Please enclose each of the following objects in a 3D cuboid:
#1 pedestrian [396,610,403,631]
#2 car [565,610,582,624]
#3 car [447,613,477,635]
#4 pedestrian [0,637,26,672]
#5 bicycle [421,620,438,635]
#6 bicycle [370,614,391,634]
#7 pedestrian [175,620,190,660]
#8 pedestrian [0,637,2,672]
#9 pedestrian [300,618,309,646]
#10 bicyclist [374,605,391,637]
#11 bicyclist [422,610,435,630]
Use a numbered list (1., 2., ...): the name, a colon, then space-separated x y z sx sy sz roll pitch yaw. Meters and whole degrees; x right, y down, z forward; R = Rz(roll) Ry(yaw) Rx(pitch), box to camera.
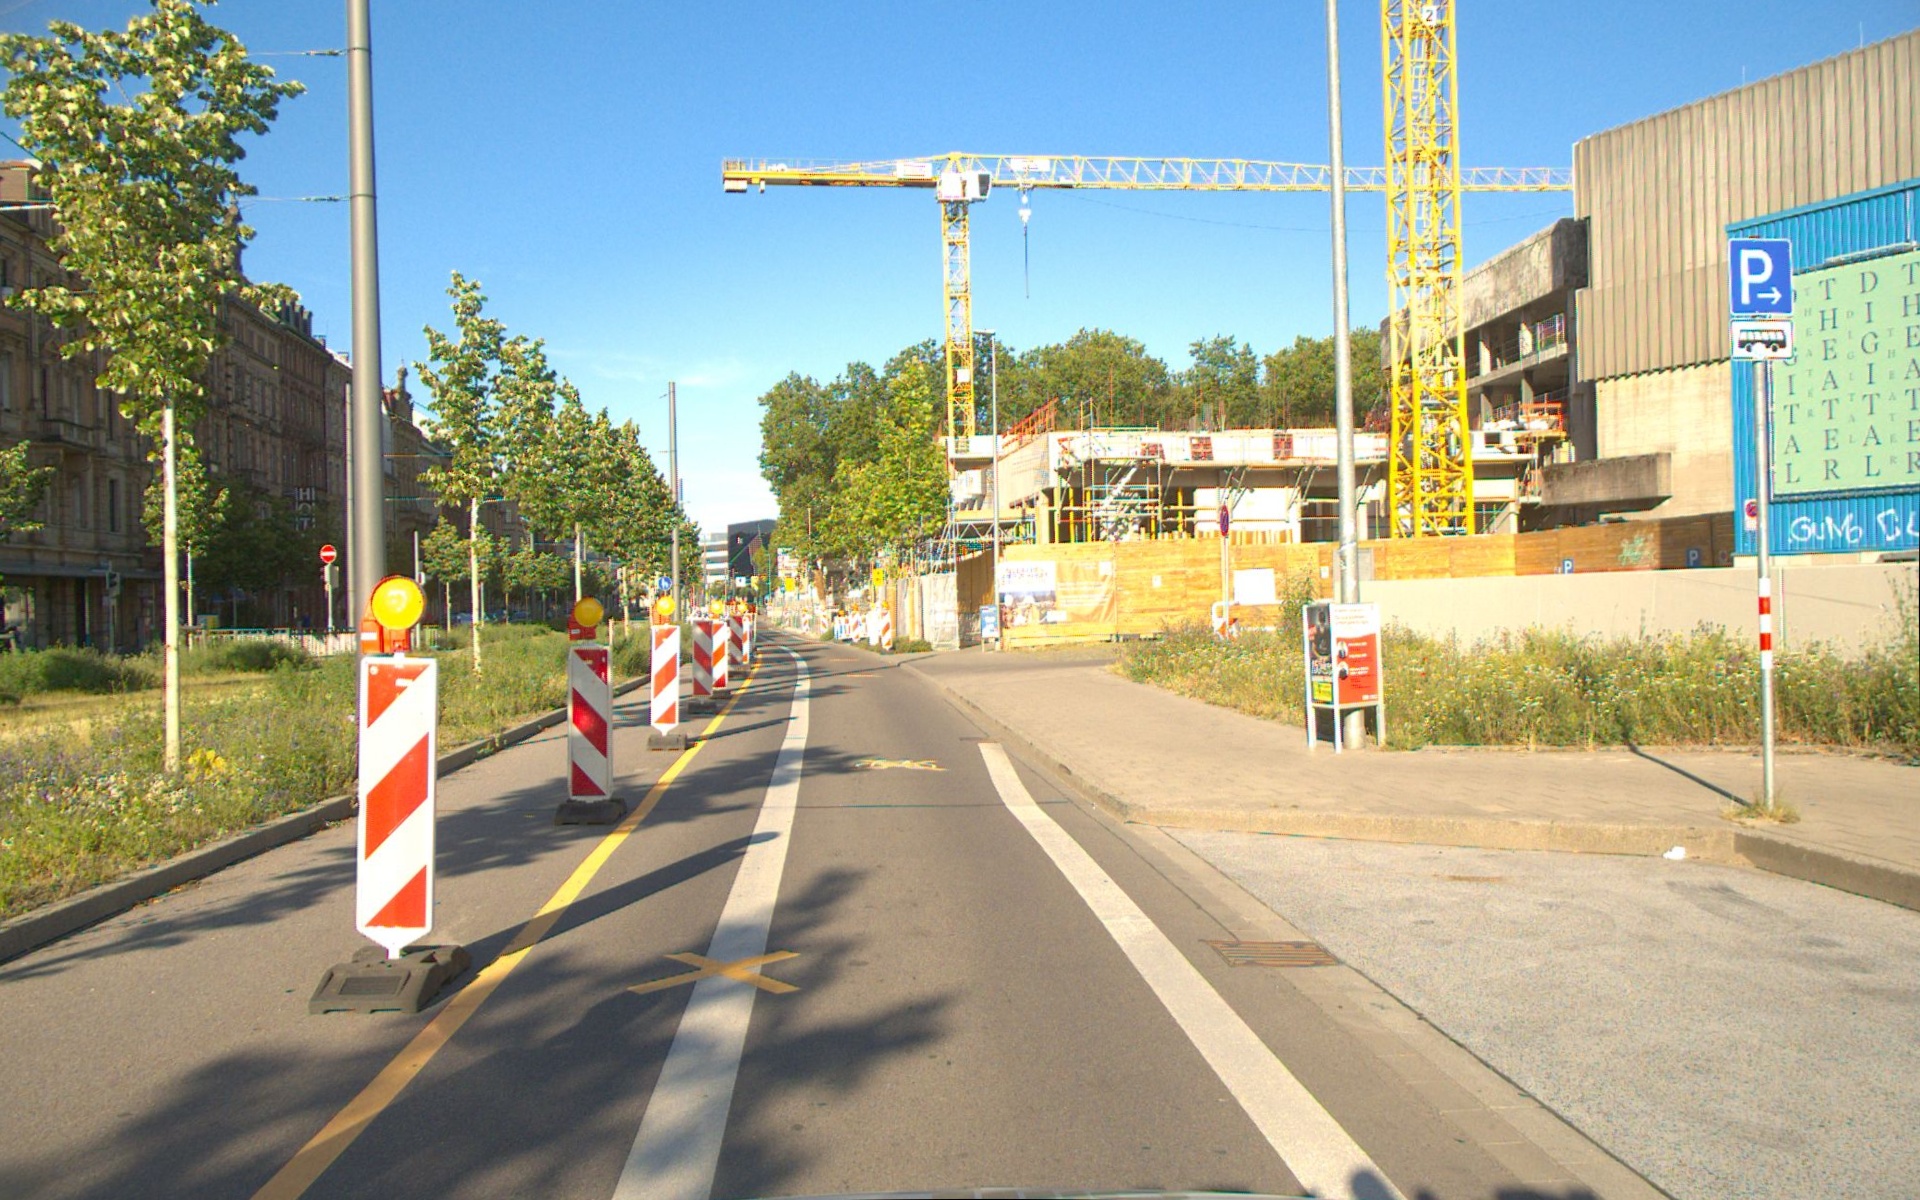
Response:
1. pedestrian: -41.697 1.520 123.061 0.397 1.559 0.434 1 -1 -9
2. car: -43.531 1.920 186.326 1.564 1.509 3.617 0 0 -7
3. car: -38.462 1.840 127.885 1.537 1.590 4.705 -1 0 -9
4. pedestrian: -34.576 1.988 60.105 0.776 1.229 0.928 -1 -1 -8
5. bicycle: -32.804 1.711 102.365 0.625 0.873 2.028 -1 0 -7
6. bicycle: -30.521 1.261 87.145 0.682 0.995 1.824 -1 0 -8
7. pedestrian: -35.353 1.819 75.231 0.498 1.796 0.405 1 -1 -9
8. pedestrian: -34.384 1.939 58.382 0.677 1.268 0.928 -1 -1 -8
9. pedestrian: -38.825 1.898 97.997 0.396 1.612 0.425 1 -1 -9
10. bicyclist: -30.629 1.121 87.758 0.682 1.686 0.880 -1 -1 -8
11. bicyclist: -32.777 1.241 102.091 0.625 1.261 0.737 -1 0 -8
